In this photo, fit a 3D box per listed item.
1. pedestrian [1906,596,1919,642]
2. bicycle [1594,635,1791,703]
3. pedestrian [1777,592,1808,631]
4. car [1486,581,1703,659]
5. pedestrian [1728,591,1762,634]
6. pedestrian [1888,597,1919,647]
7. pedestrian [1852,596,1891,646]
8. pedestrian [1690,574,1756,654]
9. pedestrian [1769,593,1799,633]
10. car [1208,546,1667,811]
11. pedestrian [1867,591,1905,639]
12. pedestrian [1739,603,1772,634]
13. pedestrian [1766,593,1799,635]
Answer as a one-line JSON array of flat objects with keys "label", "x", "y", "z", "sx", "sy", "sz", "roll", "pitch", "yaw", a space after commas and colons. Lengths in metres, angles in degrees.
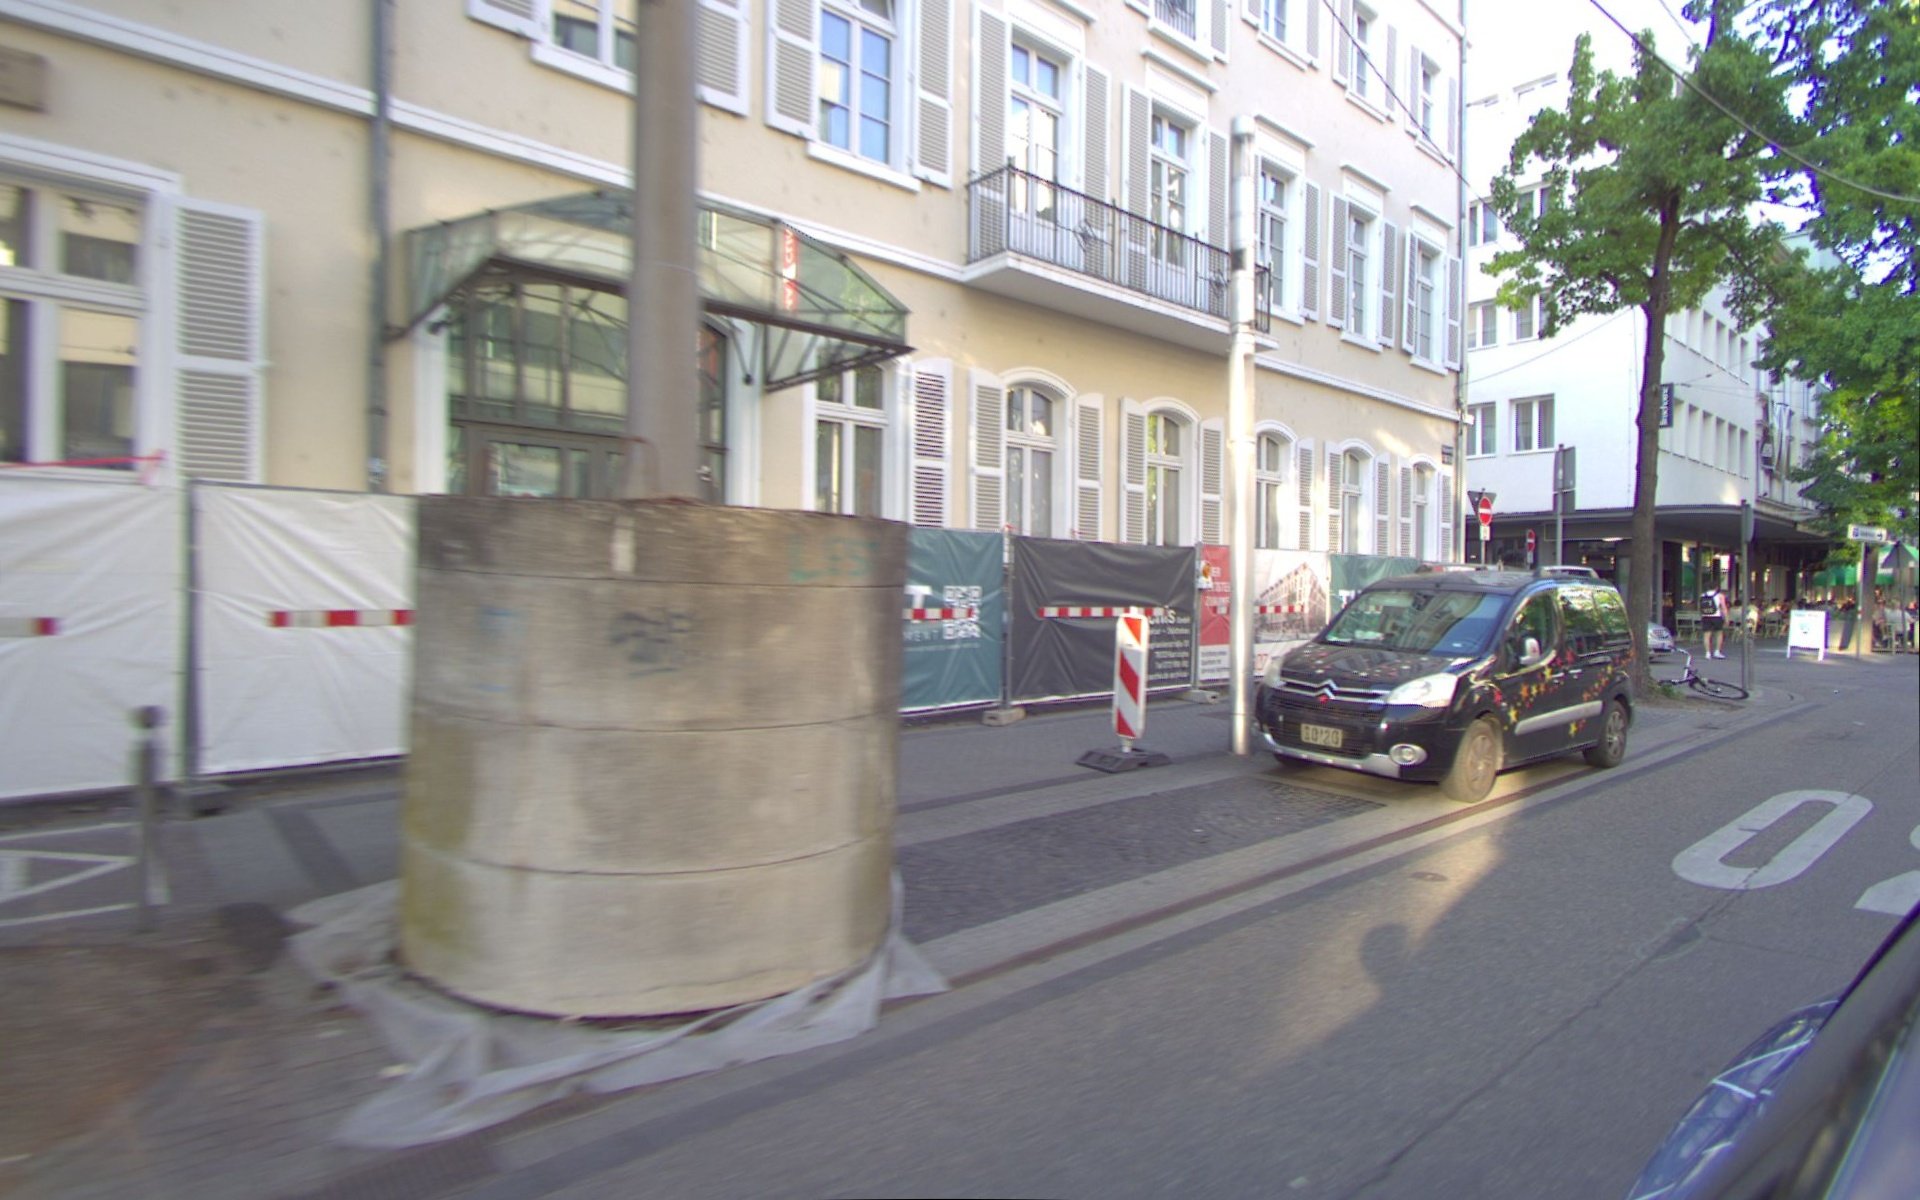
[{"label": "pedestrian", "x": 28.354, "y": 0.555, "z": 29.761, "sx": 0.613, "sy": 1.346, "sz": 0.716, "roll": 1, "pitch": 0, "yaw": -39}, {"label": "bicycle", "x": 10.554, "y": 0.960, "z": 14.645, "sx": 1.531, "sy": 0.757, "sz": 1.761, "roll": 0, "pitch": 2, "yaw": -23}, {"label": "pedestrian", "x": 29.268, "y": 0.386, "z": 35.572, "sx": 0.613, "sy": 1.346, "sz": 0.716, "roll": 1, "pitch": 0, "yaw": -39}, {"label": "car", "x": 14.833, "y": 0.401, "z": 23.853, "sx": 1.831, "sy": 1.628, "sz": 3.944, "roll": -2, "pitch": 2, "yaw": -33}, {"label": "pedestrian", "x": 24.704, "y": 0.388, "z": 31.864, "sx": 0.613, "sy": 1.346, "sz": 0.716, "roll": 1, "pitch": 0, "yaw": -39}, {"label": "pedestrian", "x": 26.029, "y": 0.590, "z": 27.806, "sx": 0.613, "sy": 1.346, "sz": 0.716, "roll": 1, "pitch": 0, "yaw": -39}, {"label": "pedestrian", "x": 25.576, "y": 0.578, "z": 28.397, "sx": 0.613, "sy": 1.346, "sz": 0.716, "roll": 1, "pitch": 0, "yaw": -39}, {"label": "pedestrian", "x": 18.266, "y": 0.311, "z": 24.231, "sx": 1.050, "sy": 1.837, "sz": 0.946, "roll": -2, "pitch": 1, "yaw": -33}, {"label": "pedestrian", "x": 28.511, "y": 0.443, "z": 35.019, "sx": 0.613, "sy": 1.346, "sz": 0.716, "roll": 1, "pitch": 0, "yaw": -39}, {"label": "car", "x": 4.370, "y": 0.491, "z": 9.022, "sx": 4.236, "sy": 1.815, "sz": 1.958, "roll": 0, "pitch": 3, "yaw": -38}, {"label": "pedestrian", "x": 26.519, "y": 0.422, "z": 28.984, "sx": 0.613, "sy": 1.346, "sz": 0.716, "roll": 1, "pitch": 0, "yaw": -39}, {"label": "pedestrian", "x": 25.615, "y": 0.591, "z": 32.591, "sx": 0.613, "sy": 0.944, "sz": 0.716, "roll": 0, "pitch": 0, "yaw": -39}, {"label": "pedestrian", "x": 27.124, "y": 0.447, "z": 33.370, "sx": 0.613, "sy": 1.346, "sz": 0.716, "roll": 1, "pitch": 0, "yaw": -39}]
